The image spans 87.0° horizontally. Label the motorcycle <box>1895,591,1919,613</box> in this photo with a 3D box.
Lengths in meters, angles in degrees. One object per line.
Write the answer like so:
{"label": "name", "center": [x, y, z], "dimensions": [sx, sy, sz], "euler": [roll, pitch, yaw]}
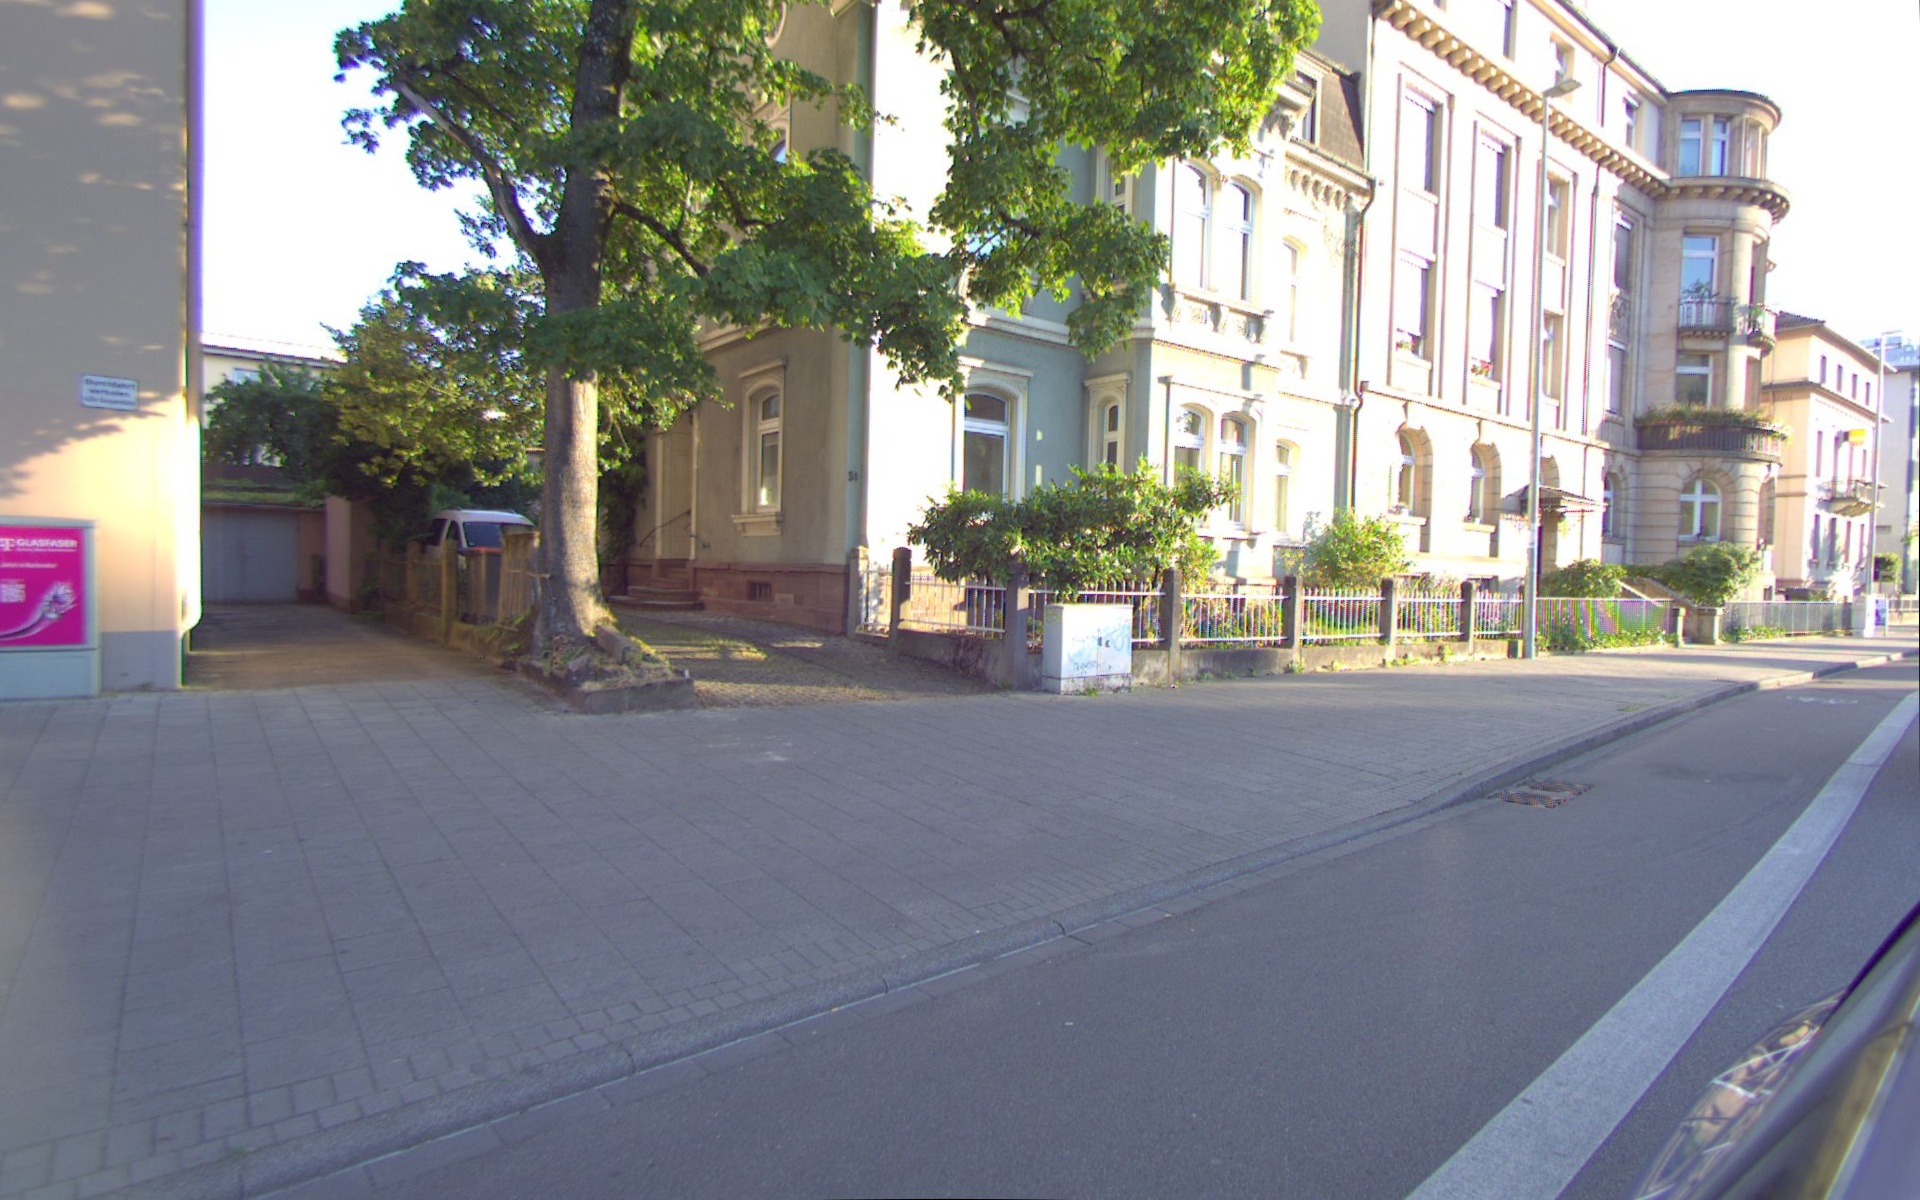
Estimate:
{"label": "motorcycle", "center": [48.561, 0.107, 51.110], "dimensions": [0.564, 1.110, 1.852], "euler": [0, 1, -32]}

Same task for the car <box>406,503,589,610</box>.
{"label": "car", "center": [-8.905, -0.878, 19.278], "dimensions": [1.795, 1.778, 4.514], "euler": [1, 3, -43]}

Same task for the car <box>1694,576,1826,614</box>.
{"label": "car", "center": [34.178, -0.232, 43.336], "dimensions": [1.903, 1.499, 4.099], "euler": [0, 1, -37]}
